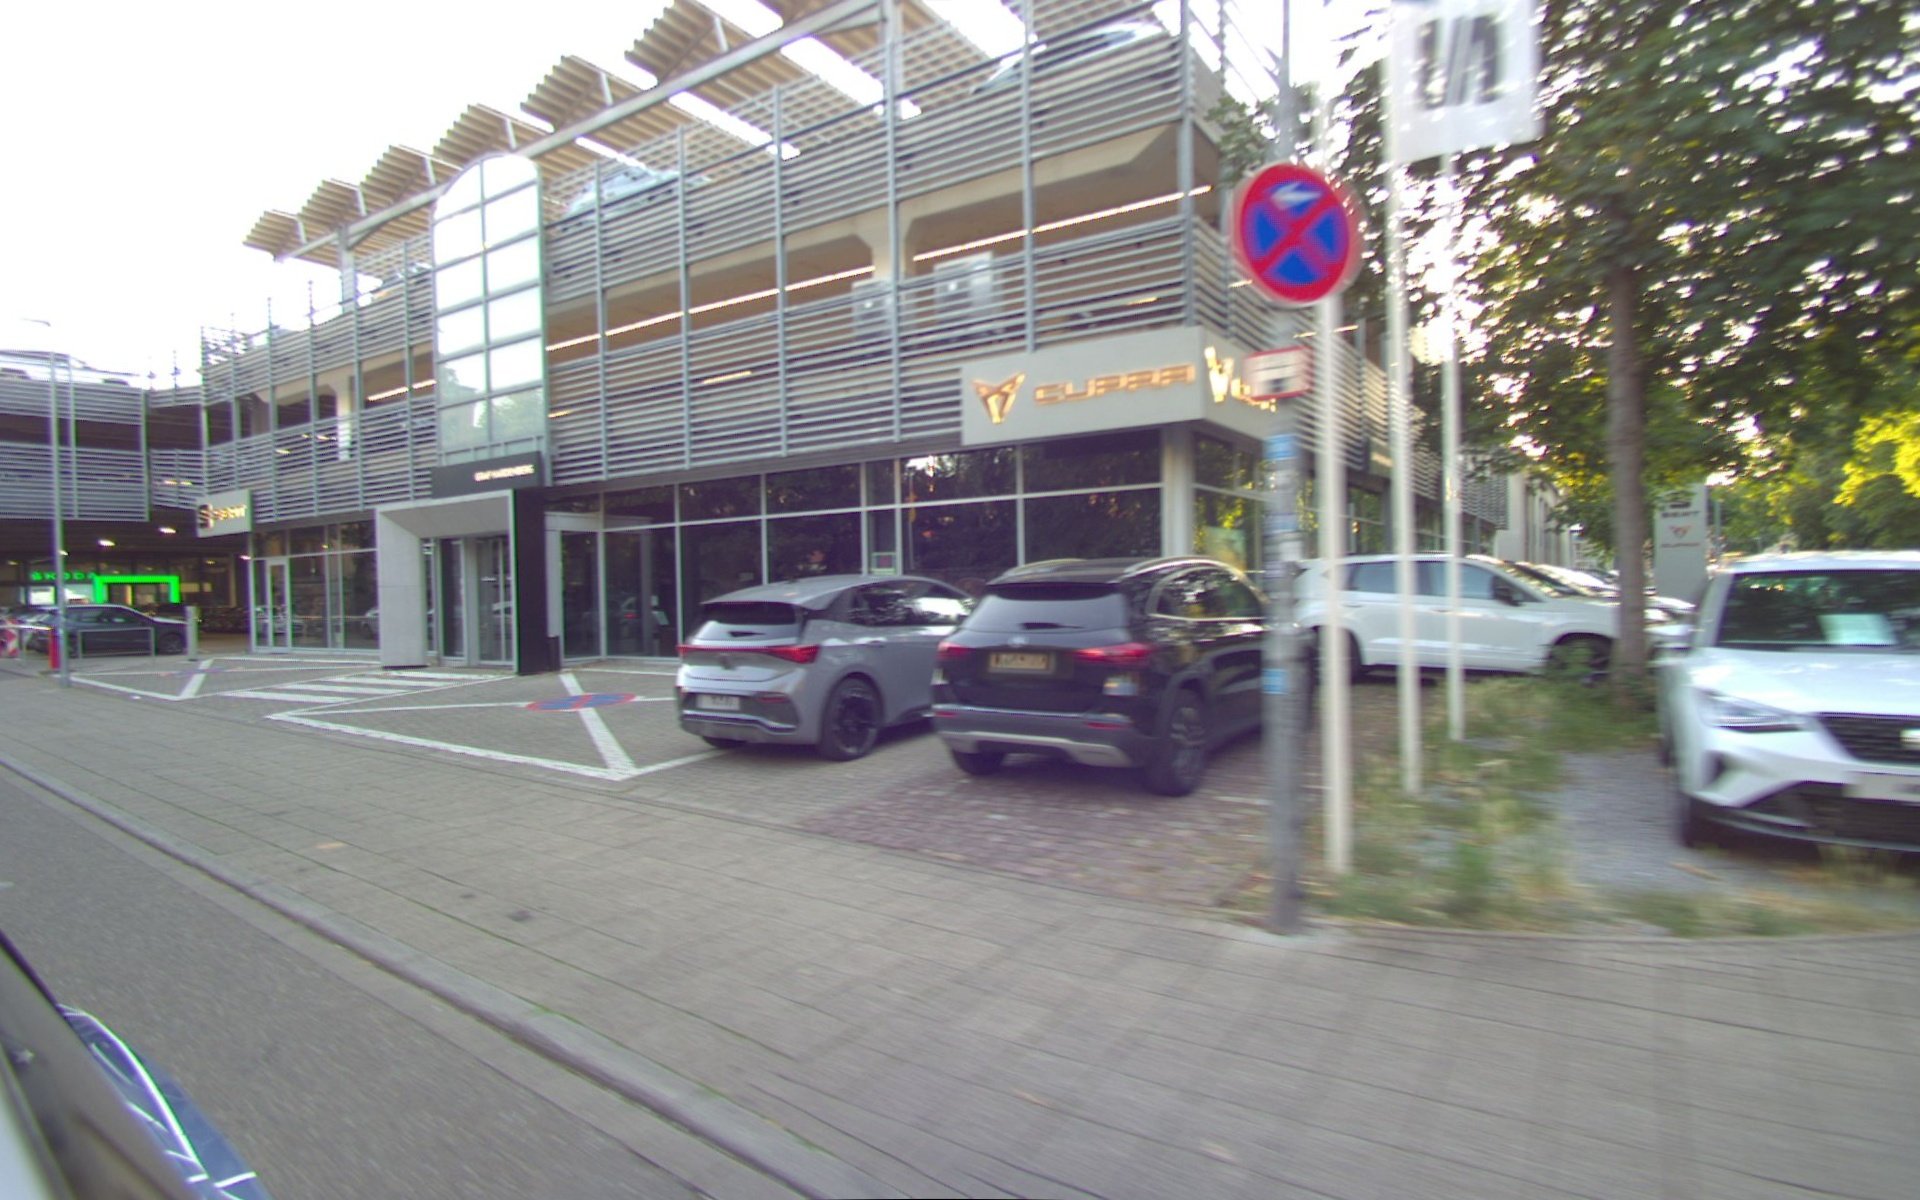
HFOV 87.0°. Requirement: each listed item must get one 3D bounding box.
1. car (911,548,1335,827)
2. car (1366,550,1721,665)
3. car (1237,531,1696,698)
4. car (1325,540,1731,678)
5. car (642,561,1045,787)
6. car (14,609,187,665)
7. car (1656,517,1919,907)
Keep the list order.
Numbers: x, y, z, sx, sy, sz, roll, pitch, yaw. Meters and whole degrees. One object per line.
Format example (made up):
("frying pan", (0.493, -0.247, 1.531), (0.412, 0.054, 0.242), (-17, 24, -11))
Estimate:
("car", (1.549, 0.444, 8.051), (1.714, 1.617, 4.079), (-2, 2, 35))
("car", (9.039, 0.144, 15.978), (4.579, 1.584, 1.851), (-2, 0, 34))
("car", (5.860, 0.185, 12.072), (4.579, 1.656, 1.851), (-2, 0, 34))
("car", (7.630, 0.146, 13.939), (4.579, 1.628, 1.851), (-2, 0, 34))
("car", (-0.922, 0.525, 9.666), (1.704, 1.603, 3.648), (-1, 3, 38))
("car", (-26.674, 1.091, 31.515), (1.631, 1.579, 3.877), (-1, 0, 38))
("car", (5.049, 0.413, 5.654), (1.763, 1.584, 3.859), (-1, 1, 33))
